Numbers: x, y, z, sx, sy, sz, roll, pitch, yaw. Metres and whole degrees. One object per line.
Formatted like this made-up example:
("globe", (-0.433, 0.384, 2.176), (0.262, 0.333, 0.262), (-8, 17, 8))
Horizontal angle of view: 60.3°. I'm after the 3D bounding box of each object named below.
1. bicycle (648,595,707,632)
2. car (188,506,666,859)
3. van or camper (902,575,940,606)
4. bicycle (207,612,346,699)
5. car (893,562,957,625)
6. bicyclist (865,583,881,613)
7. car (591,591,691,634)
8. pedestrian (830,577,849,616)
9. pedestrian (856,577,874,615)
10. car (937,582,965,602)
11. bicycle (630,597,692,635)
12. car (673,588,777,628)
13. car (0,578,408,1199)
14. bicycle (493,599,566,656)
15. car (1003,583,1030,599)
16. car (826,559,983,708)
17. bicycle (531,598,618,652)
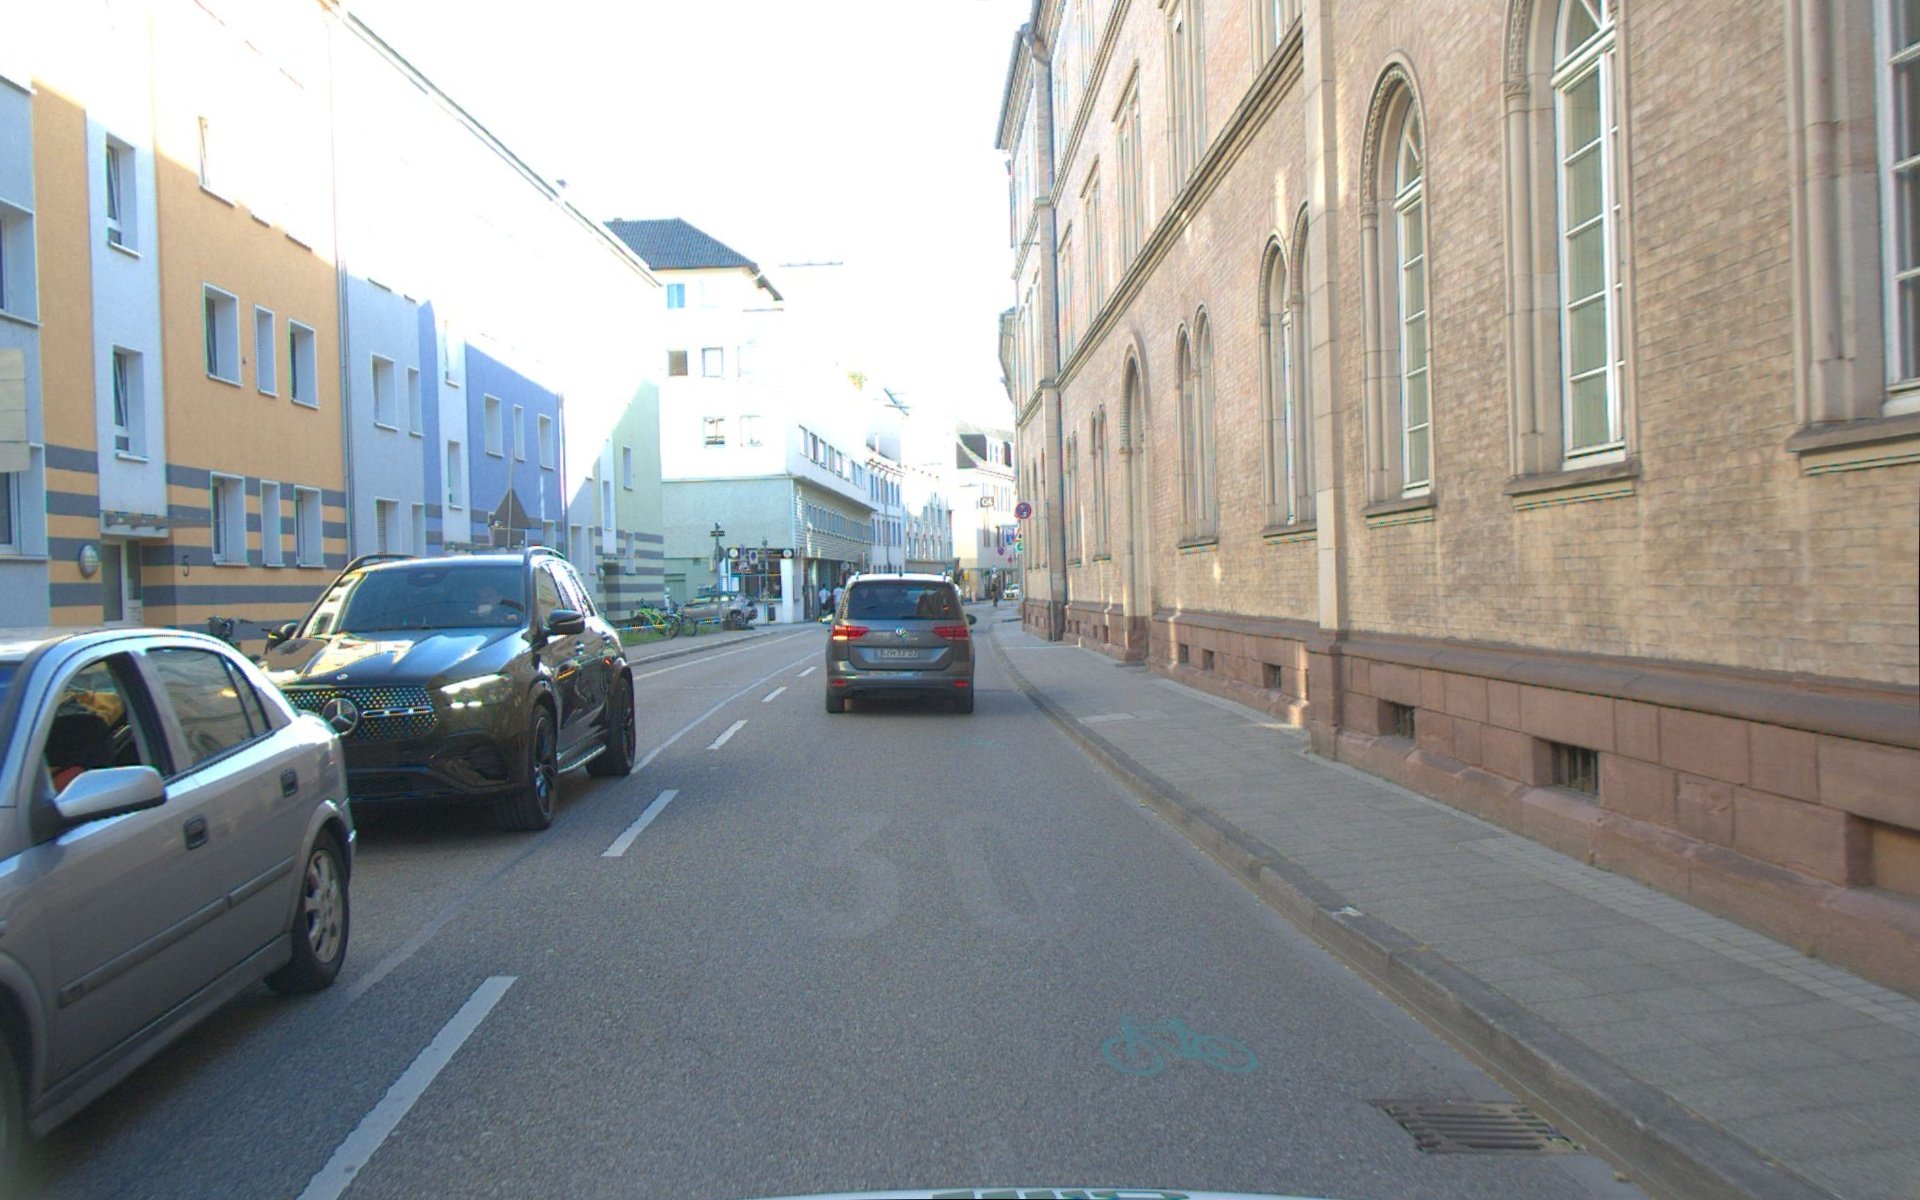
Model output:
("bicycle", (-9.288, 0.445, 54.439), (1.893, 1.200, 0.612), (1, 0, -9))
("car", (-3.454, 0.439, 11.887), (1.862, 1.866, 5.092), (-4, 1, -2))
("van or camper", (-2.651, -0.694, 114.125), (1.951, 2.049, 4.486), (-2, 0, 6))
("bicycle", (-9.878, 0.788, 23.947), (1.719, 1.165, 0.649), (-2, 0, -10))
("car", (-1.127, -0.231, 53.655), (1.953, 1.914, 3.999), (-2, 1, -1))
("bicyclist", (-4.711, -0.116, 89.771), (0.814, 1.589, 0.759), (-2, 0, 0))
("car", (-12.423, 0.488, 64.578), (3.428, 1.468, 1.814), (-2, 1, 2))
("pedestrian", (-5.763, -0.166, 79.125), (0.544, 1.861, 0.730), (-2, 0, 24))
("pedestrian", (-4.681, -0.205, 81.767), (0.544, 1.861, 0.730), (-2, 0, 24))
("car", (-0.678, -0.633, 130.321), (1.826, 1.494, 3.836), (-2, 1, 5))
("bicycle", (-9.570, 0.514, 52.970), (1.897, 1.200, 0.611), (1, 0, -15))
("car", (-9.971, 0.331, 70.429), (4.013, 1.468, 1.948), (-2, 1, 2))
("car", (-3.063, 0.754, 4.743), (1.707, 1.511, 4.134), (-4, 1, -4))
("bicycle", (-9.967, 0.642, 38.326), (1.548, 1.263, 0.384), (-2, 0, -2))
("car", (5.491, -0.886, 160.520), (1.697, 1.493, 4.003), (-2, 1, 14))
("car", (-0.705, 0.362, 20.538), (1.726, 1.635, 3.998), (1, 0, -2))
("bicycle", (-9.489, 0.600, 40.720), (1.968, 1.253, 0.623), (-2, 0, -2))
